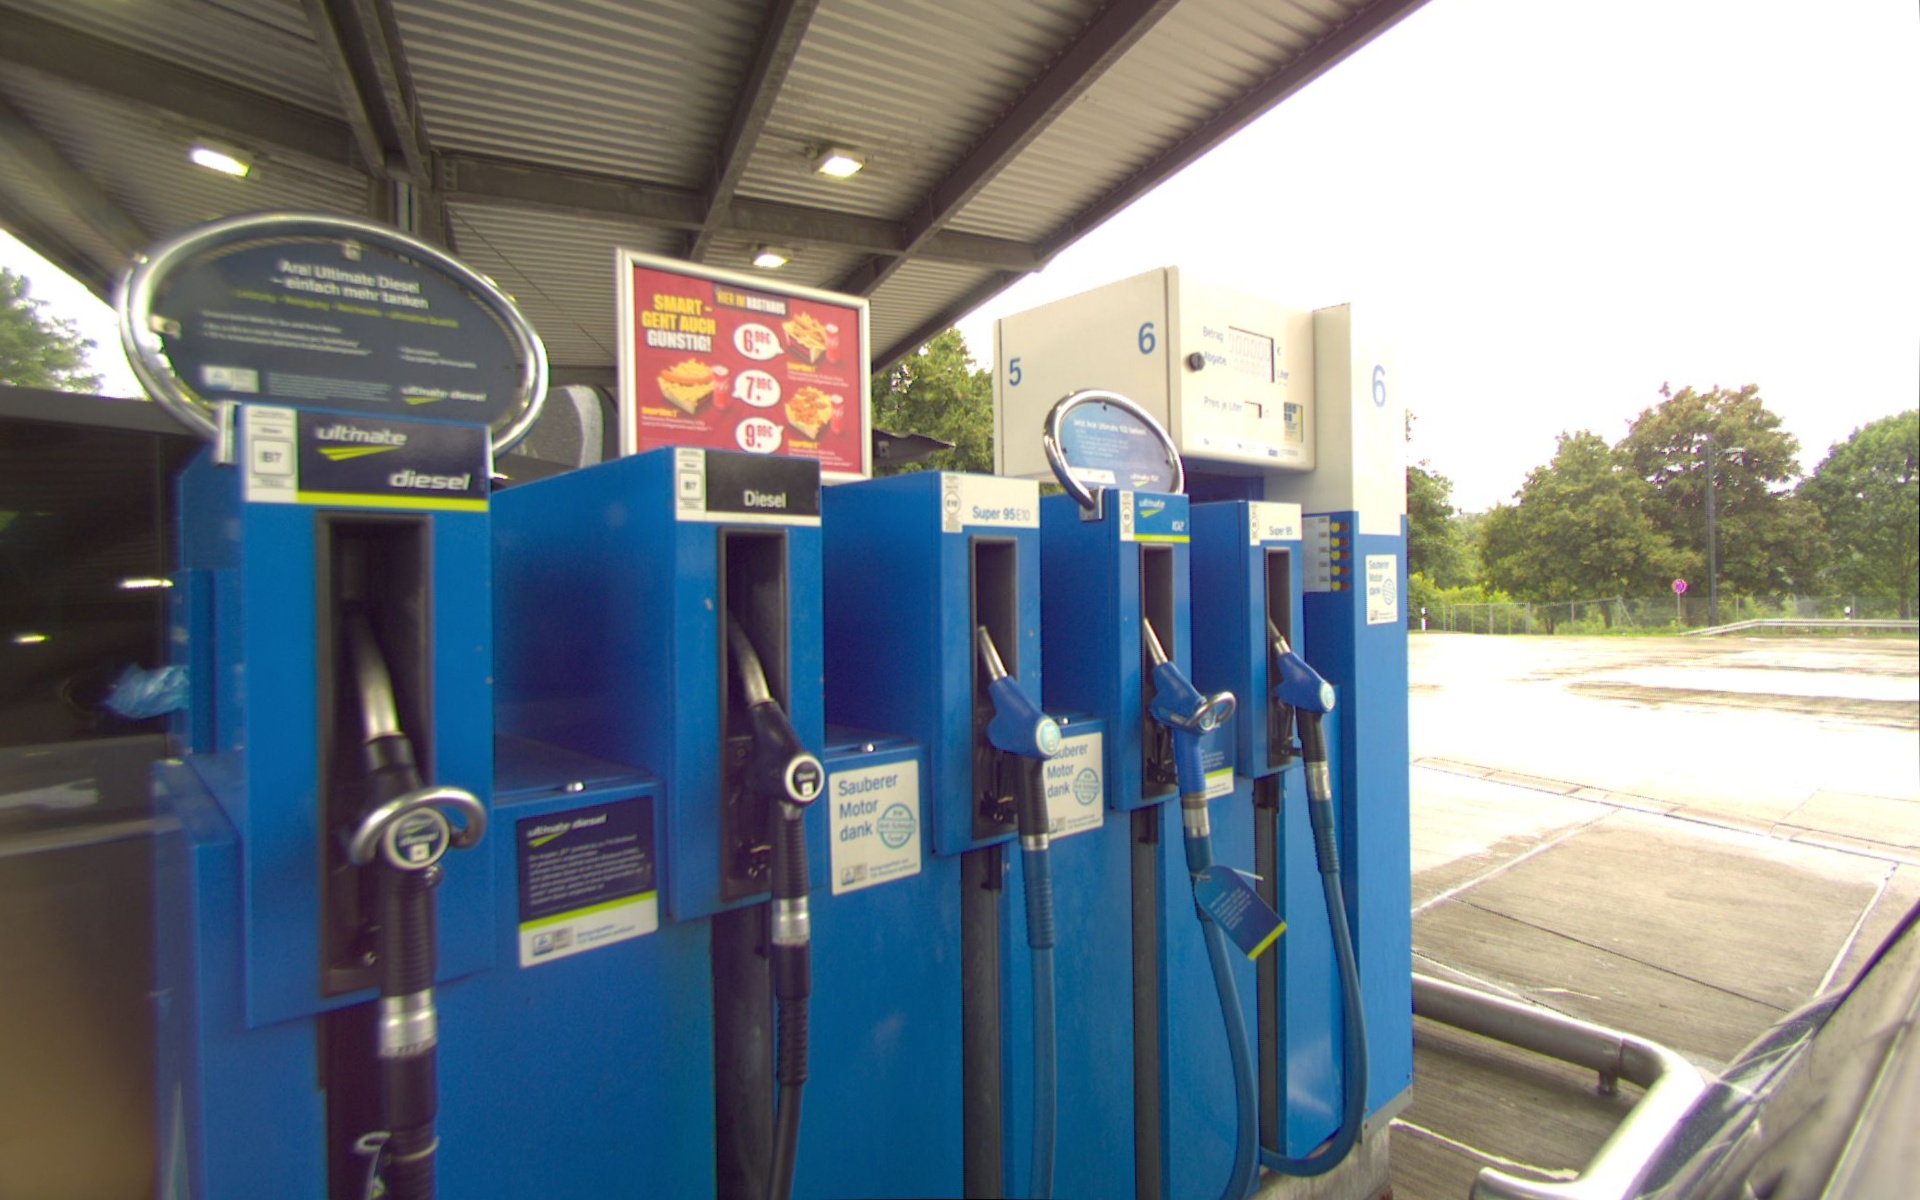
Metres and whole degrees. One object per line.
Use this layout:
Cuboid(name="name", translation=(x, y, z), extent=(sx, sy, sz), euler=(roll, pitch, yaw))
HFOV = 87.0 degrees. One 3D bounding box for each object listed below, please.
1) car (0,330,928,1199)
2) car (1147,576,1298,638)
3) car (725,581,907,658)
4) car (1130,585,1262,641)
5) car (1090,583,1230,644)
Cuboid(name="car", translation=(-2.597, 0.498, 1.819), extent=(5.050, 1.821, 1.864), euler=(-1, 0, -41))
Cuboid(name="car", translation=(8.889, 0.203, 34.505), extent=(4.817, 1.974, 2.306), euler=(1, 1, 14))
Cuboid(name="car", translation=(-3.068, 0.387, 21.377), extent=(3.605, 1.524, 1.603), euler=(0, 0, -15))
Cuboid(name="car", translation=(7.427, 0.381, 31.922), extent=(3.941, 1.680, 1.593), euler=(1, 0, 14))
Cuboid(name="car", translation=(5.873, 0.370, 29.732), extent=(3.941, 1.680, 1.593), euler=(1, 0, 14))
